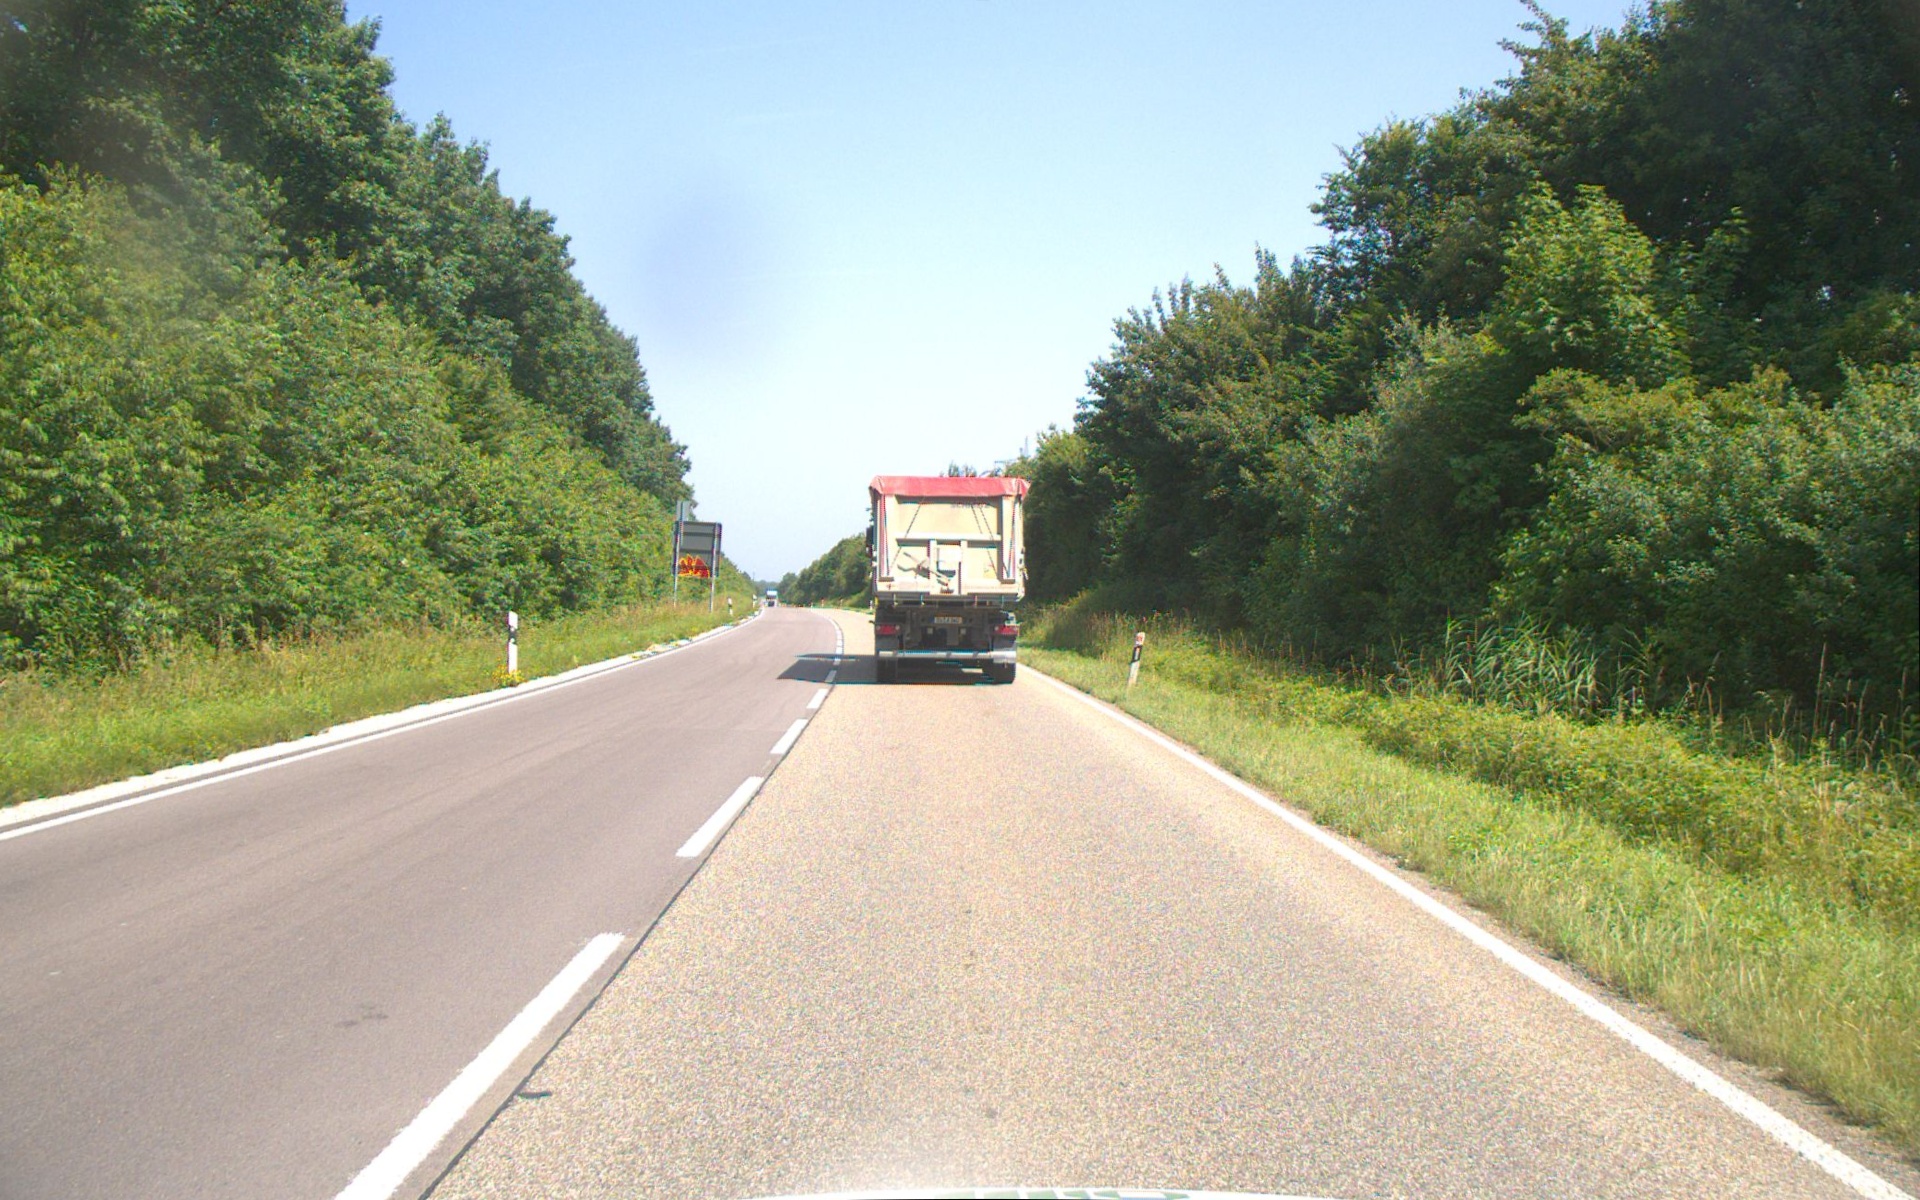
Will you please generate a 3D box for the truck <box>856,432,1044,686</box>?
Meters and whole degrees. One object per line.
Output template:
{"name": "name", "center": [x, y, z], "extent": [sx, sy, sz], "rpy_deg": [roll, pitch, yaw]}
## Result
{"name": "truck", "center": [-0.533, -0.696, 32.517], "extent": [2.836, 4.031, 11.922], "rpy_deg": [1, 0, -4]}
